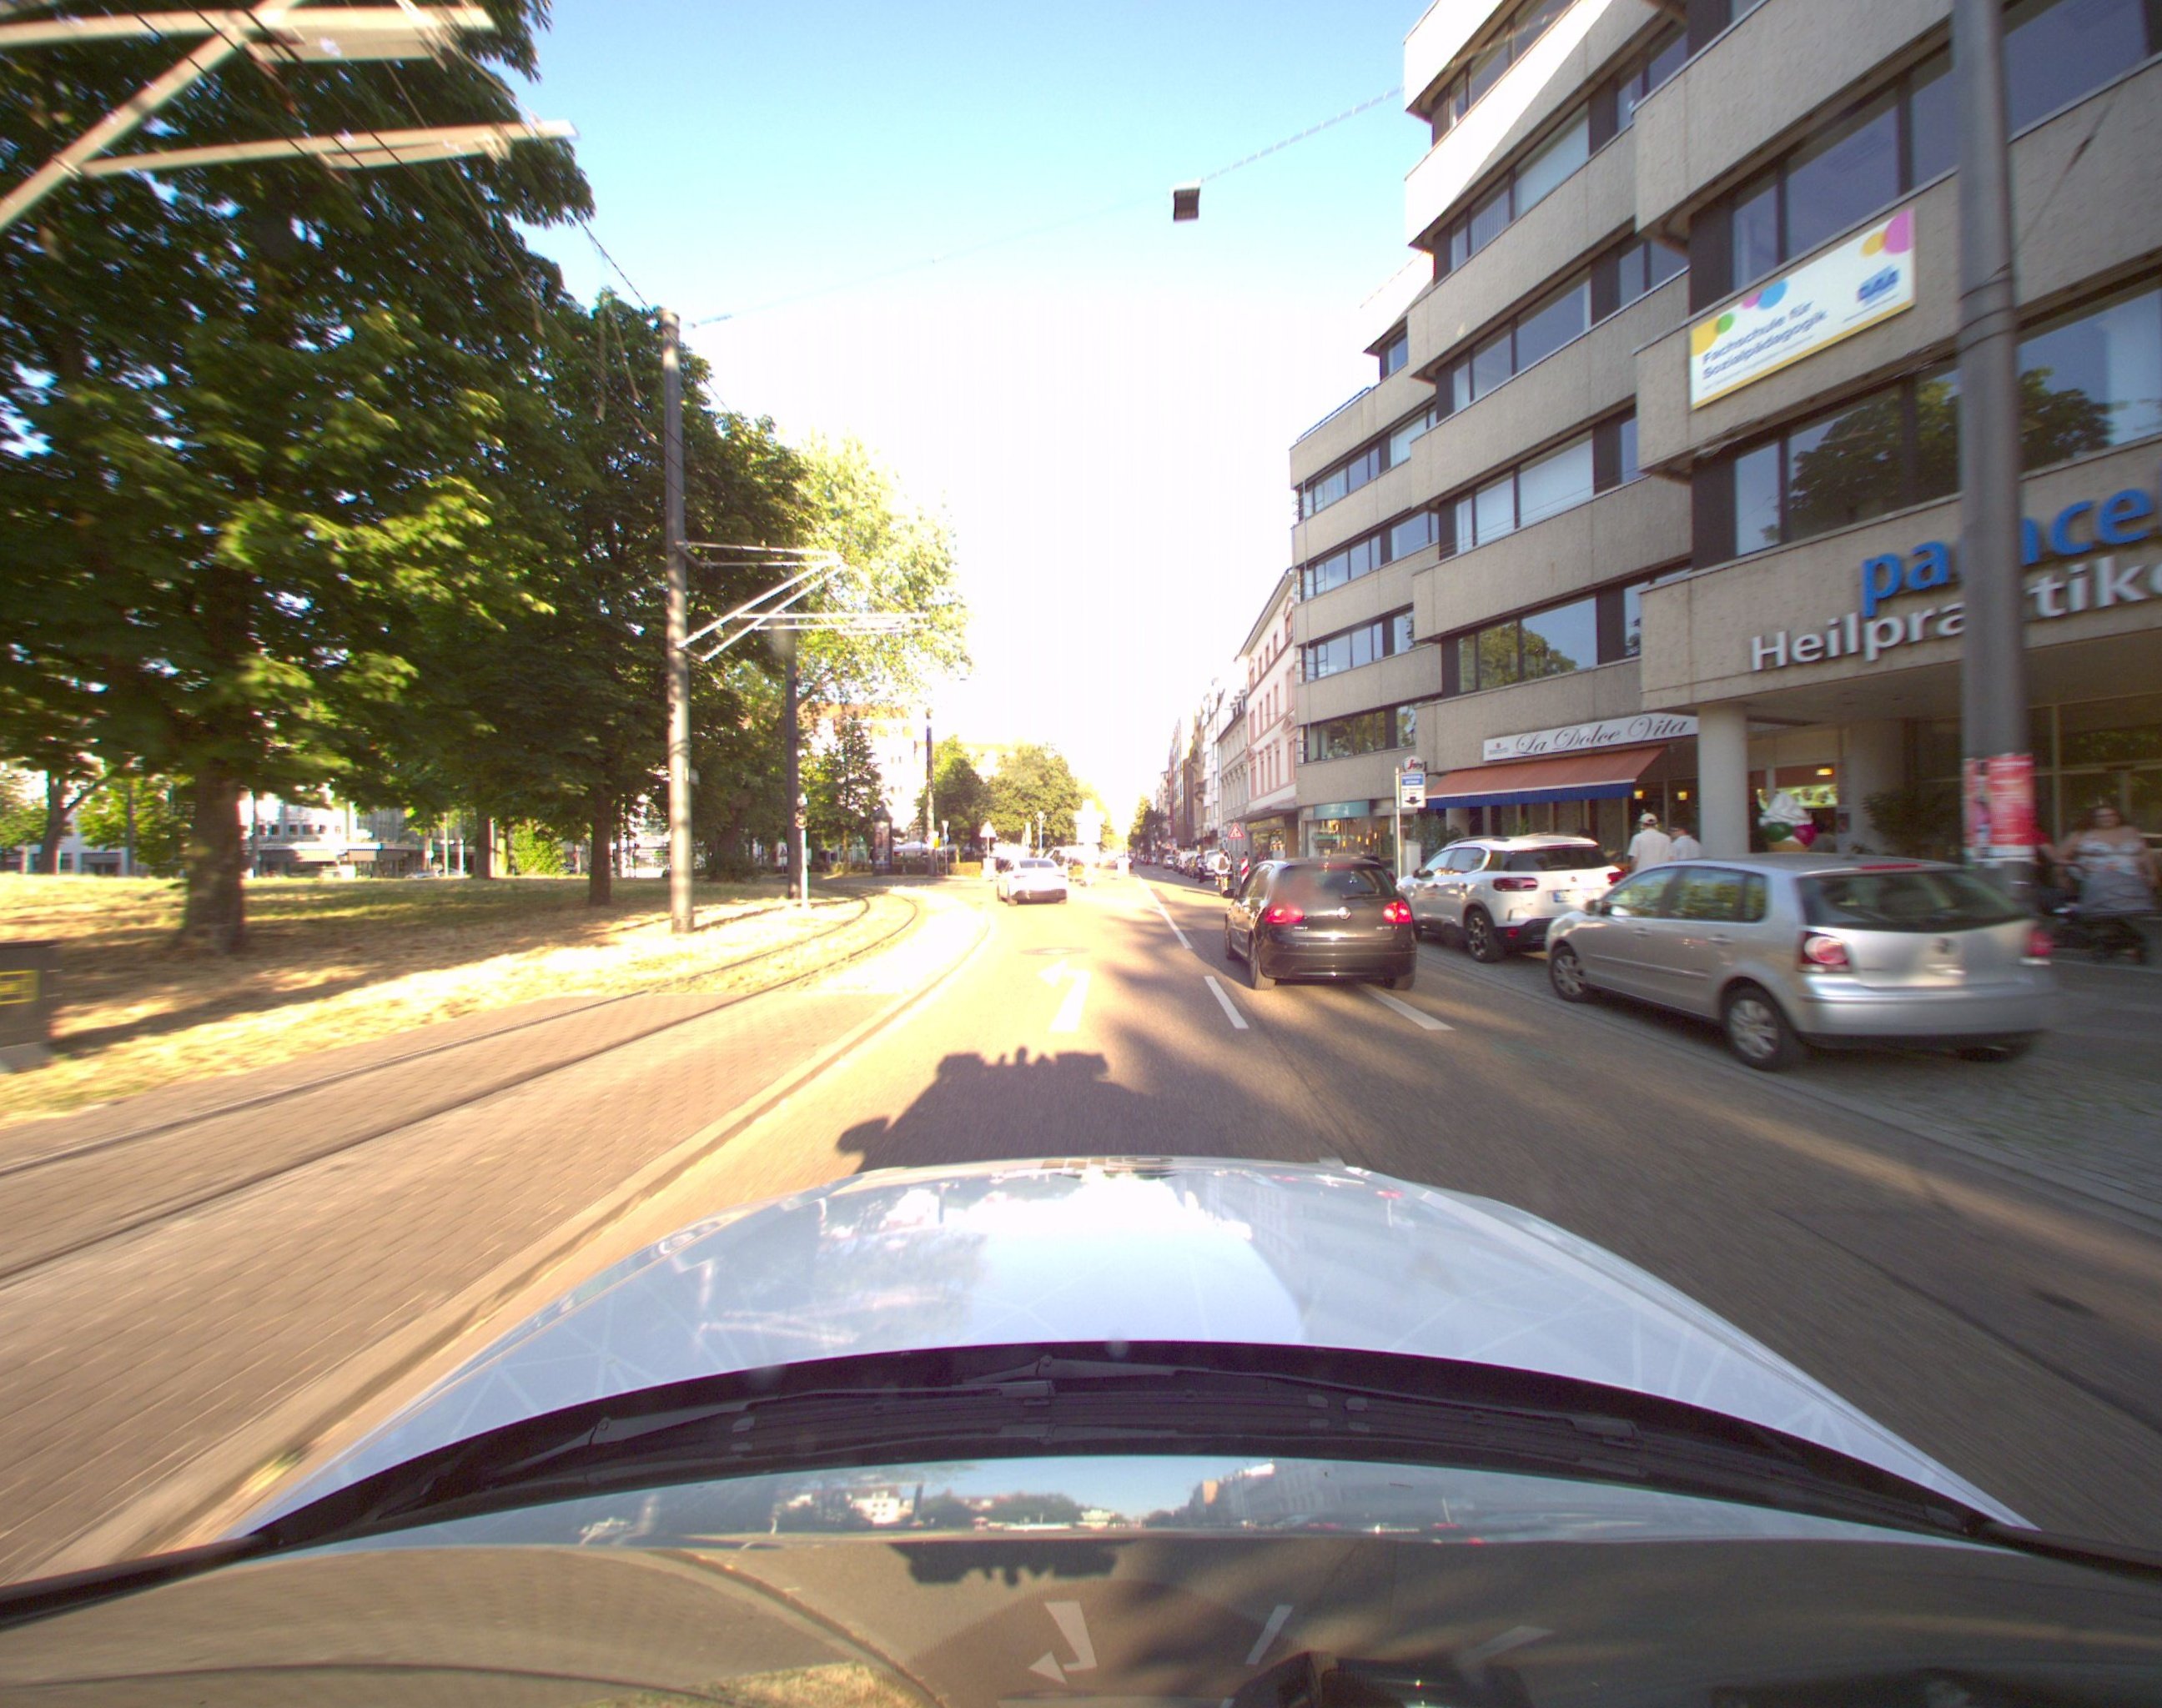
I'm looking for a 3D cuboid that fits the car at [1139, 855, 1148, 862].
[{"bbox_3d":[13.290,0.910,172.433,1.745,1.510,3.546,-2,0,1],"label":"car"}]

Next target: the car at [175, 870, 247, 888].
[{"bbox_3d":[-78.754,2.234,73.797,4.002,1.464,1.986,-1,0,-21],"label":"car"}]

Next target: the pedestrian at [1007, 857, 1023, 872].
[{"bbox_3d":[-5.431,0.884,67.173,1.102,1.226,0.853,0,0,-24],"label":"pedestrian"}]

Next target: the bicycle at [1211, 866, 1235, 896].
[{"bbox_3d":[5.012,0.937,28.844,0.576,0.987,1.937,0,0,2],"label":"bicycle"}]

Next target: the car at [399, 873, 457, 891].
[{"bbox_3d":[-59.740,2.565,74.540,1.572,1.463,3.978,-1,0,41],"label":"car"}]

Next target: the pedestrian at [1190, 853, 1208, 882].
[{"bbox_3d":[6.385,0.703,44.108,0.729,1.555,0.636,-1,-1,29],"label":"pedestrian"}]

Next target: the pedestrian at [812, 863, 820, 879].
[{"bbox_3d":[-25.360,1.620,77.858,0.533,1.497,0.659,-1,0,-4],"label":"pedestrian"}]

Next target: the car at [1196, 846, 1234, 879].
[{"bbox_3d":[7.938,0.500,48.679,1.728,1.800,3.919,-2,0,2],"label":"car"}]

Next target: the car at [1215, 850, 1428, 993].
[{"bbox_3d":[2.795,0.693,10.379,1.740,1.461,4.107,-1,0,4],"label":"car"}]

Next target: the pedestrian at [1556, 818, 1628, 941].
[{"bbox_3d":[7.639,0.377,12.191,0.576,1.760,0.662,-4,0,4],"label":"pedestrian"}]

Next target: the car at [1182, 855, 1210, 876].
[{"bbox_3d":[8.453,0.810,60.089,1.728,1.462,3.587,-2,0,2],"label":"car"}]

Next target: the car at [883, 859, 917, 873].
[{"bbox_3d":[-20.406,1.318,91.808,3.625,1.552,1.651,-1,0,-20],"label":"car"}]

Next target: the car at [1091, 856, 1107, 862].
[{"bbox_3d":[4.171,1.177,187.728,3.381,1.287,1.665,0,0,-13],"label":"car"}]

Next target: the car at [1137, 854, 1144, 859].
[{"bbox_3d":[17.985,0.817,245.453,1.745,1.510,3.546,-2,0,1],"label":"car"}]

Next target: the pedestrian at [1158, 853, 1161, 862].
[{"bbox_3d":[16.818,0.775,174.240,0.529,1.923,0.542,-1,0,1],"label":"pedestrian"}]

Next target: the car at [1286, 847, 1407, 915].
[{"bbox_3d":[6.511,0.607,20.394,1.657,1.441,3.821,-3,0,-1],"label":"car"}]

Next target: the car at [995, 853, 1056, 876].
[{"bbox_3d":[-4.011,0.743,58.807,4.012,1.552,1.860,-1,0,-31],"label":"car"}]

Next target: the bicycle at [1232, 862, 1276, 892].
[{"bbox_3d":[7.073,0.945,33.253,1.586,1.119,0.616,-3,0,36],"label":"bicycle"}]

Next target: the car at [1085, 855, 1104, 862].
[{"bbox_3d":[2.640,0.918,156.432,3.381,1.287,1.665,0,0,-13],"label":"car"}]

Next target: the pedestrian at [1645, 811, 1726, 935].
[{"bbox_3d":[8.907,0.276,12.022,0.620,1.740,0.662,-4,0,4],"label":"pedestrian"}]

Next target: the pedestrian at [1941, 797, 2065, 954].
[{"bbox_3d":[10.771,0.234,9.555,0.690,1.727,1.039,-2,0,35],"label":"pedestrian"}]

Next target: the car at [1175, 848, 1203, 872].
[{"bbox_3d":[8.799,0.487,66.667,1.917,1.841,4.021,-2,0,4],"label":"car"}]

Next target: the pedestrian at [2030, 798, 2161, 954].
[{"bbox_3d":[11.518,0.235,9.125,0.979,1.673,0.646,-2,0,34],"label":"pedestrian"}]

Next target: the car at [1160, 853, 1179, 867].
[{"bbox_3d":[10.059,0.674,92.717,1.745,1.510,3.546,-2,0,1],"label":"car"}]

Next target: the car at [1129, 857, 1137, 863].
[{"bbox_3d":[12.114,1.312,189.678,1.661,1.287,3.389,0,0,1],"label":"car"}]

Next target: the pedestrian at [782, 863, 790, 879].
[{"bbox_3d":[-28.093,1.612,77.665,0.533,1.497,0.659,-1,0,-4],"label":"pedestrian"}]

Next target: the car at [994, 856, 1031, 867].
[{"bbox_3d":[-8.184,0.882,97.074,4.001,1.301,1.840,-1,0,-21],"label":"car"}]

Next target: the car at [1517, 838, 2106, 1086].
[{"bbox_3d":[5.503,0.662,6.930,1.655,1.441,3.858,-3,0,3],"label":"car"}]

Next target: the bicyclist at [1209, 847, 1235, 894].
[{"bbox_3d":[4.984,0.565,28.792,0.774,1.618,1.025,0,0,2],"label":"bicyclist"}]

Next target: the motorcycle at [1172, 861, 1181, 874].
[{"bbox_3d":[8.855,1.275,75.778,0.486,1.174,1.604,-3,0,-4],"label":"motorcycle"}]

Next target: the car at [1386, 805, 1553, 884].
[{"bbox_3d":[13.286,-0.346,27.852,5.340,2.442,2.076,-2,-1,-23],"label":"car"}]

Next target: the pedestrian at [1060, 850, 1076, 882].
[{"bbox_3d":[-0.715,0.639,44.044,0.858,1.706,0.940,0,0,-4],"label":"pedestrian"}]

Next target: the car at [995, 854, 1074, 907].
[{"bbox_3d":[-1.590,0.788,26.298,1.867,1.441,4.179,-2,1,-13],"label":"car"}]

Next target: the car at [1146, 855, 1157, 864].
[{"bbox_3d":[12.083,0.913,139.963,1.745,1.510,3.546,-2,0,1],"label":"car"}]

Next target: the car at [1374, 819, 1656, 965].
[{"bbox_3d":[6.214,0.470,12.390,1.861,1.713,4.505,-3,0,1],"label":"car"}]

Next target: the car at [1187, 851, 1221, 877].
[{"bbox_3d":[8.129,0.638,54.109,1.728,1.617,3.919,-2,0,2],"label":"car"}]

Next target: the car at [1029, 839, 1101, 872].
[{"bbox_3d":[-1.289,0.140,66.457,5.536,2.594,2.138,-1,0,-24],"label":"car"}]

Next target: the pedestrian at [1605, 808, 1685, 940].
[{"bbox_3d":[8.325,0.284,12.039,0.620,1.858,0.662,-4,0,4],"label":"pedestrian"}]

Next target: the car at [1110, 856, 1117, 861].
[{"bbox_3d":[9.362,1.216,234.733,1.660,1.287,3.393,0,0,4],"label":"car"}]

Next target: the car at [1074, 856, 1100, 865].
[{"bbox_3d":[0.863,0.956,115.391,3.381,1.287,1.665,0,0,-13],"label":"car"}]

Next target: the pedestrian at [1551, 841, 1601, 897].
[{"bbox_3d":[11.820,0.363,19.444,0.770,1.281,0.656,-3,-1,-26],"label":"pedestrian"}]

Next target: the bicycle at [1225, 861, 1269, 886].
[{"bbox_3d":[7.582,0.882,37.214,1.828,1.045,0.584,-3,0,33],"label":"bicycle"}]

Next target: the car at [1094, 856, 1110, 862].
[{"bbox_3d":[5.070,1.240,195.588,3.381,1.287,1.665,0,0,-13],"label":"car"}]

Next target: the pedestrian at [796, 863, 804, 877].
[{"bbox_3d":[-27.924,1.569,80.903,0.666,1.352,0.657,-1,0,-10],"label":"pedestrian"}]

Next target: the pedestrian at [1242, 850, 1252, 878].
[{"bbox_3d":[9.716,0.584,47.782,0.500,1.625,0.497,0,0,2],"label":"pedestrian"}]

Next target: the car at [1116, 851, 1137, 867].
[{"bbox_3d":[5.415,0.613,96.604,1.980,1.772,4.013,-1,0,12],"label":"car"}]
